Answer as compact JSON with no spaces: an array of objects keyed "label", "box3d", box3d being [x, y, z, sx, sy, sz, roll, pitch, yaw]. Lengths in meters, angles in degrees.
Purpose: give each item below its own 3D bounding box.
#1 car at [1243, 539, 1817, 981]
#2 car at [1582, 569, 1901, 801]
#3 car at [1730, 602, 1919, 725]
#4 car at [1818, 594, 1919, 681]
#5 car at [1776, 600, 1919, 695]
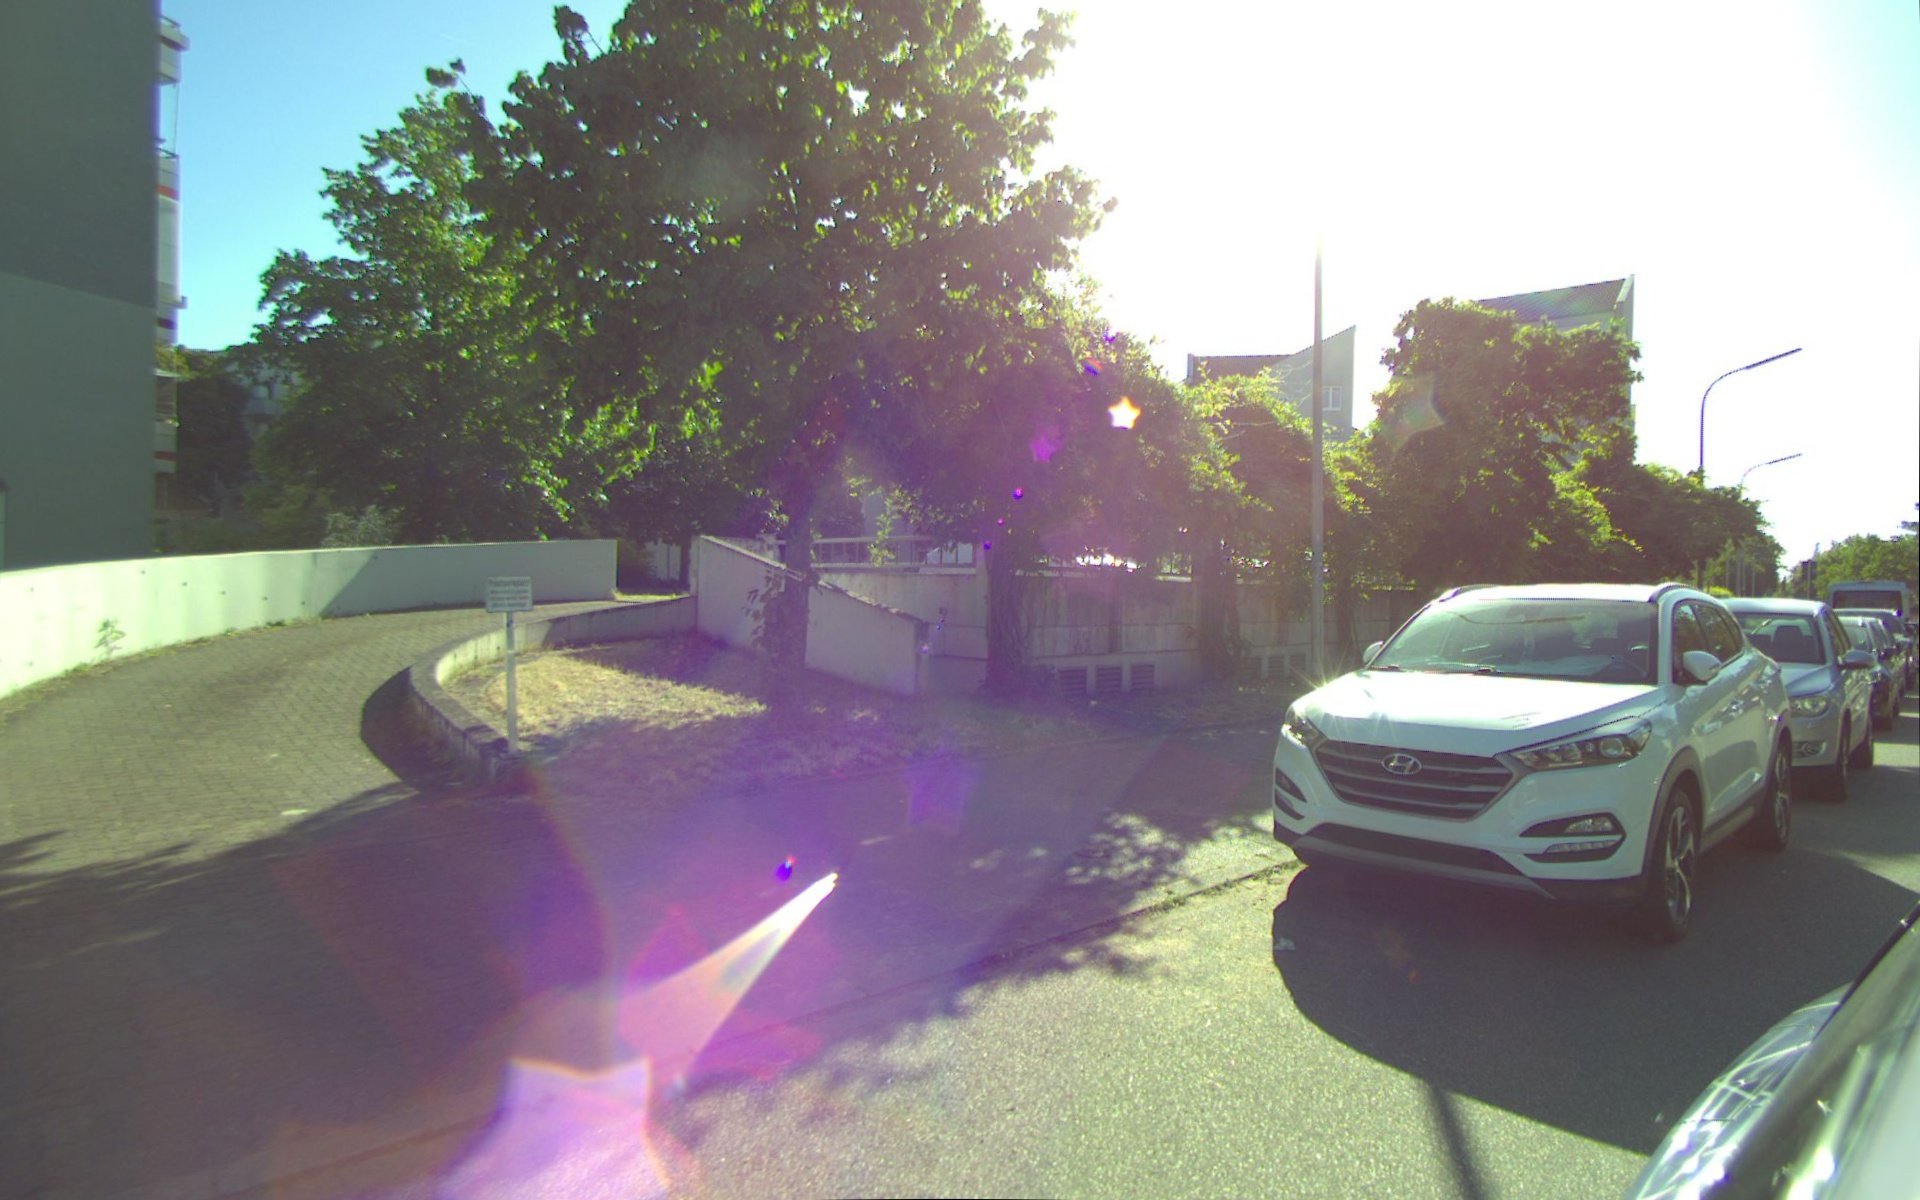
[{"label":"car","box3d":[3.630,0.607,6.021,4.338,1.695,1.756,0,0,-43]},{"label":"car","box3d":[7.395,0.620,9.434,3.916,1.707,1.756,0,0,-43]},{"label":"car","box3d":[12.509,0.797,14.525,1.754,1.498,4.298,-1,-1,45]},{"label":"car","box3d":[19.826,0.743,21.877,1.754,1.716,3.841,1,0,43]},{"label":"car","box3d":[16.137,0.774,18.279,3.838,1.498,1.755,0,0,-45]}]
